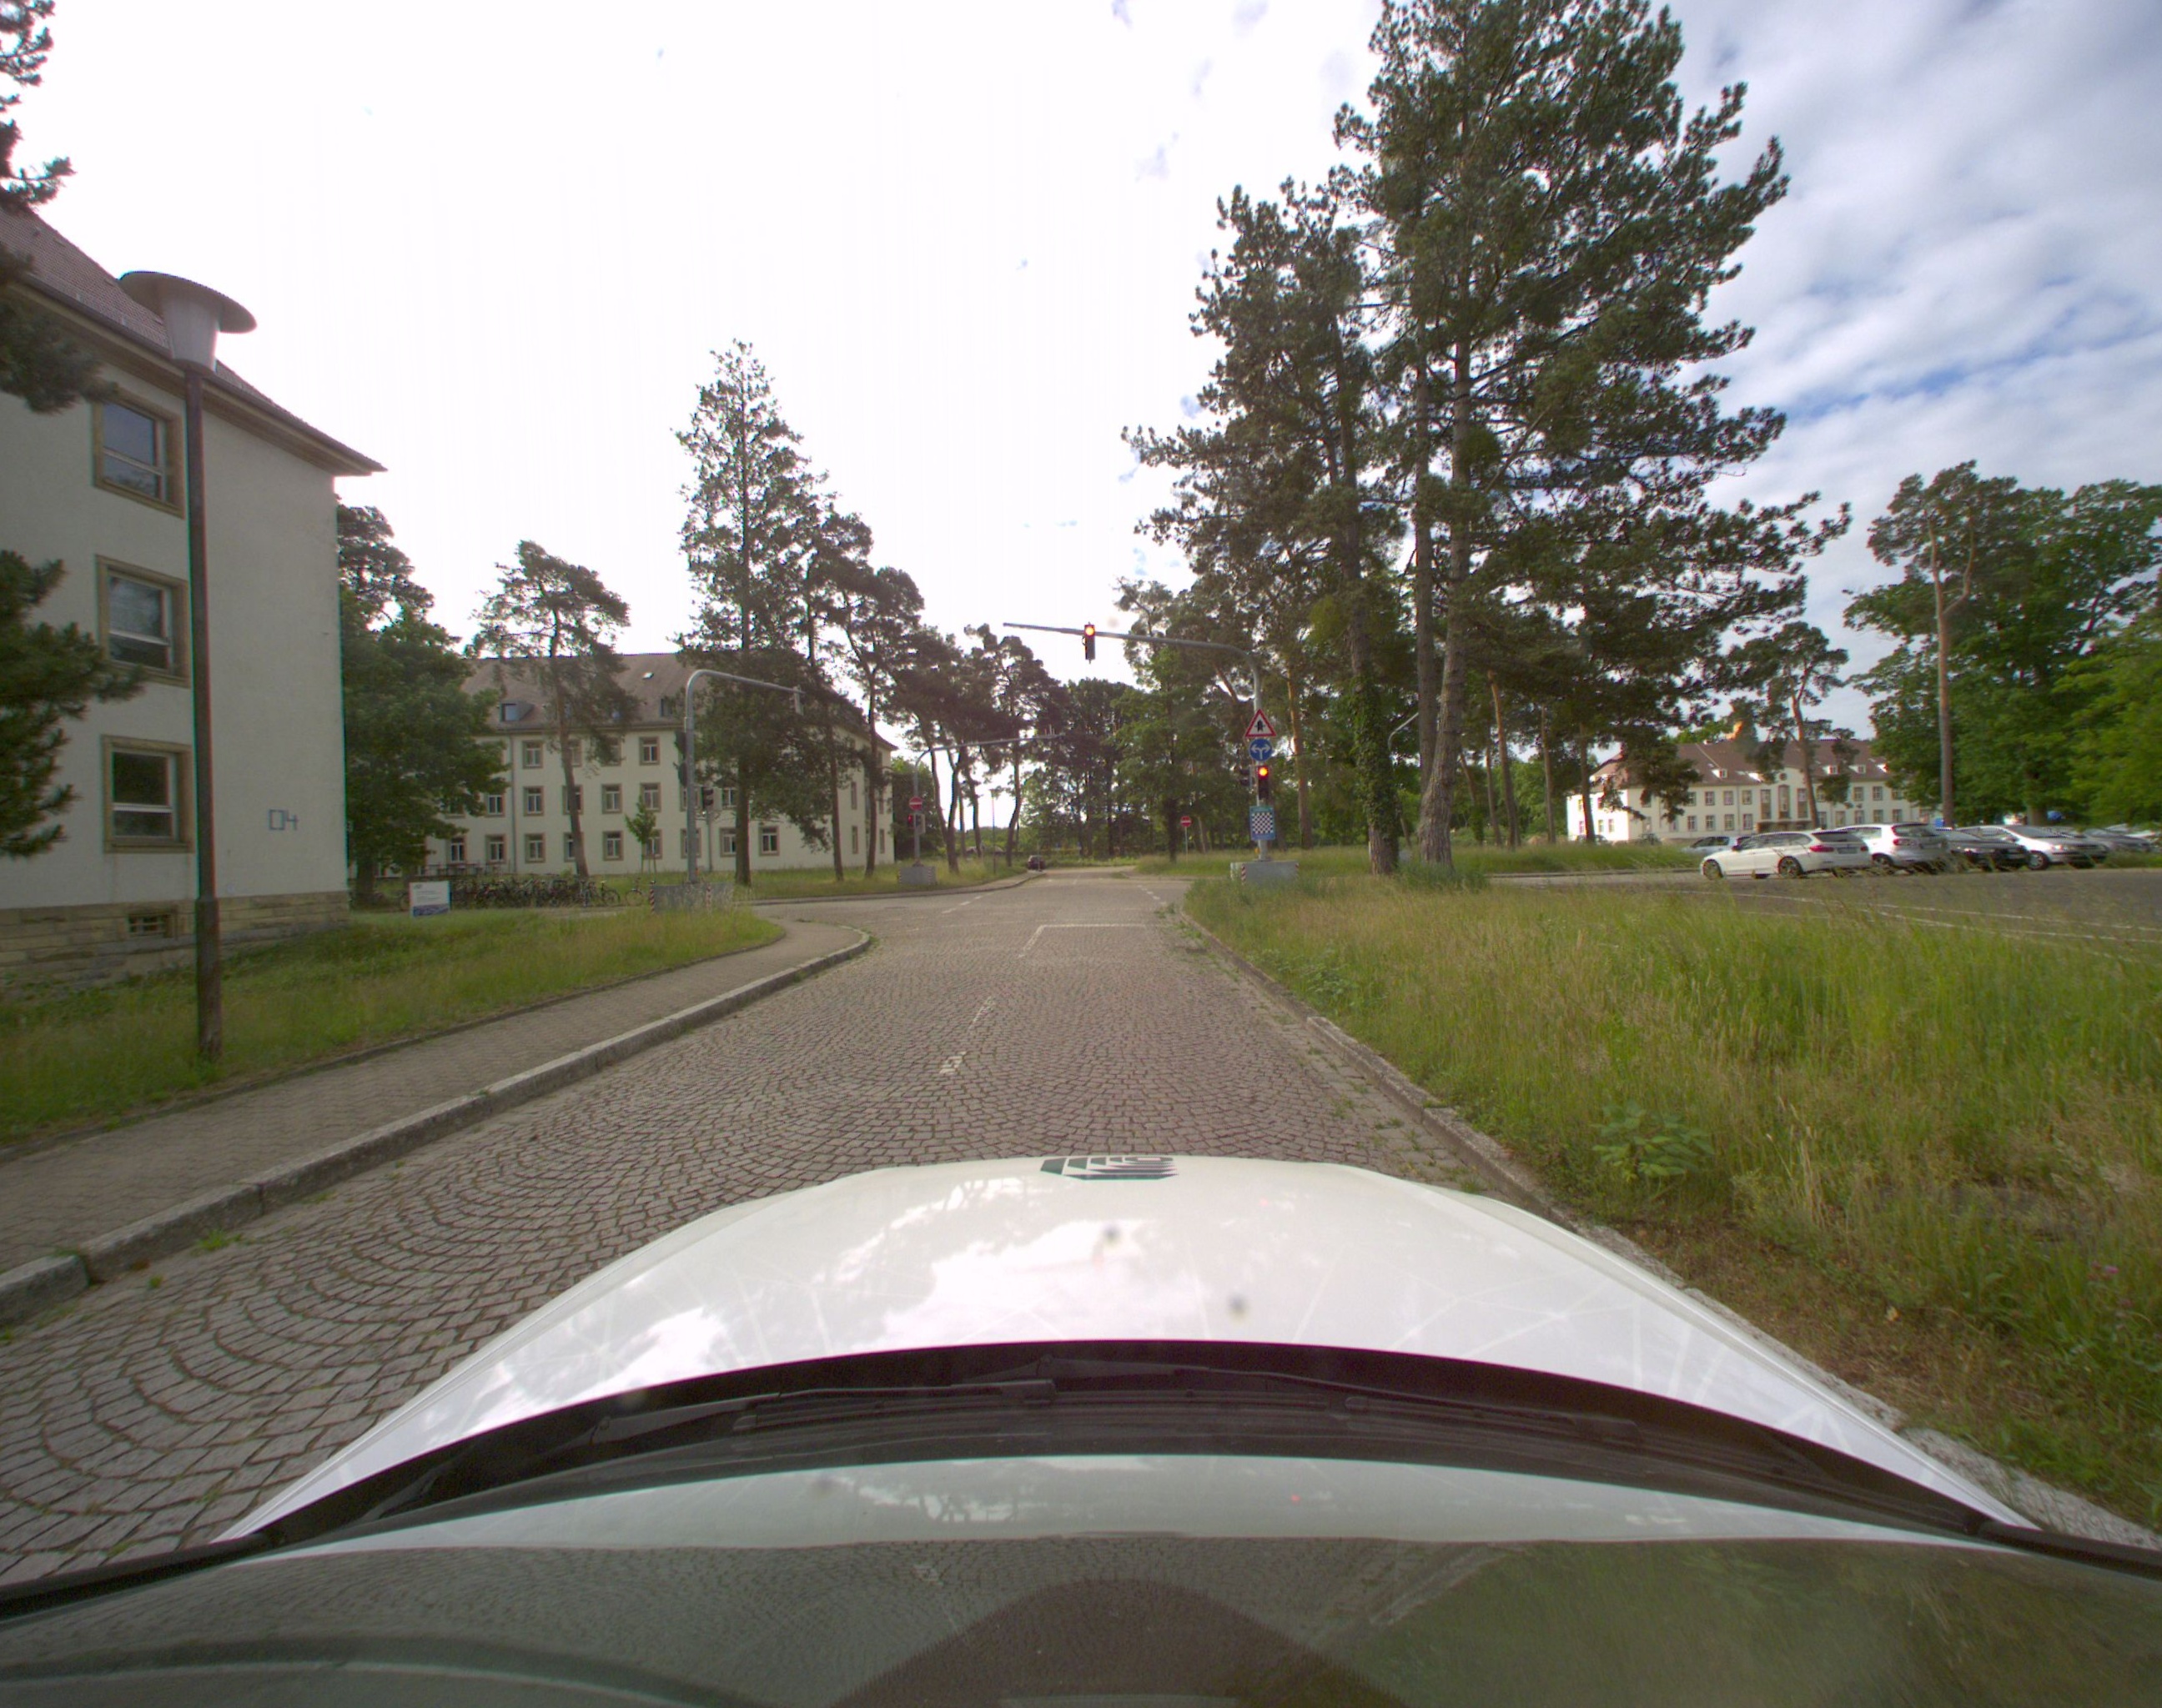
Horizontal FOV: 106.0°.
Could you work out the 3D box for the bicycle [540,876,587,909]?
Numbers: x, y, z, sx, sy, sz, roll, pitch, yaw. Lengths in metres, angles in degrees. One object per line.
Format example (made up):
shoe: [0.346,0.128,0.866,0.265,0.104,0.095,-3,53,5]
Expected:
bicycle: [-20.525,1.507,32.345,0.573,1.178,1.953,-2,0,-1]

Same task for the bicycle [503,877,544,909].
bicycle: [-22.107,1.523,32.303,0.447,1.178,1.695,-2,0,-1]

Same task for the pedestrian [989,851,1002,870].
pedestrian: [-8.579,0.630,81.837,1.206,1.890,0.748,-2,0,2]

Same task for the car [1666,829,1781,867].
car: [28.799,-0.253,36.685,1.746,1.524,4.450,-2,0,2]

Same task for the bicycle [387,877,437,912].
bicycle: [-26.487,1.569,32.298,0.447,1.283,1.827,-2,0,-1]

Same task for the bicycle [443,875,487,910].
bicycle: [-24.403,1.494,32.286,0.447,1.283,1.695,-2,0,-1]

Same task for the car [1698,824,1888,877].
car: [21.438,-0.081,24.797,1.748,1.415,4.443,-2,-1,-3]

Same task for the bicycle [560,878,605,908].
bicycle: [-19.829,1.543,32.445,0.573,1.078,1.996,-2,0,-1]

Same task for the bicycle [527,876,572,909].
bicycle: [-21.108,1.513,32.388,0.526,1.178,1.930,-2,0,-1]

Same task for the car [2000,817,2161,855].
car: [43.975,-0.747,35.915,1.748,1.524,4.443,-2,0,-3]

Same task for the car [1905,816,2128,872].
car: [29.376,-0.288,25.837,1.862,1.577,4.443,-2,0,-3]

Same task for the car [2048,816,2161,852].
car: [46.860,-0.874,36.467,1.748,1.524,4.443,-2,0,-3]

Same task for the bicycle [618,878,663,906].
bicycle: [-16.780,1.435,31.025,1.454,0.996,0.452,-2,0,1]

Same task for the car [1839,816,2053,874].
car: [26.685,-0.256,25.395,1.862,1.577,4.443,-2,0,-3]

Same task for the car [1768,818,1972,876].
car: [24.015,-0.206,25.074,1.862,1.577,4.443,-2,0,-3]

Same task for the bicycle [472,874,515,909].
bicycle: [-23.325,1.483,32.360,0.447,1.283,1.695,-2,0,-1]

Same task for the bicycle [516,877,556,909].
bicycle: [-21.621,1.531,32.327,0.447,1.178,1.695,-2,0,-1]

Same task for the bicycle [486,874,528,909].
bicycle: [-22.820,1.478,32.405,0.447,1.283,1.695,-2,0,-1]

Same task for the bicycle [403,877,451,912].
bicycle: [-26.022,1.589,32.434,0.441,1.283,1.784,-2,0,-1]

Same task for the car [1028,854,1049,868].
car: [-4.594,0.761,88.324,1.986,1.508,4.002,0,0,2]

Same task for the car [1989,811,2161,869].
car: [32.029,-0.435,25.616,1.862,1.686,4.443,-2,0,-3]

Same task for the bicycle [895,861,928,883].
bicycle: [-8.011,0.840,38.454,1.457,0.996,0.451,-2,0,-6]

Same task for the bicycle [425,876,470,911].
bicycle: [-25.067,1.554,32.254,0.447,1.283,1.695,-2,0,-1]

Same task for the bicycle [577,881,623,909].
bicycle: [-18.304,1.543,30.992,1.454,0.996,0.452,-2,0,1]

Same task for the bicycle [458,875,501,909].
bicycle: [-23.840,1.488,32.313,0.447,1.283,1.695,-2,0,-1]

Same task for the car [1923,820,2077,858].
car: [40.996,-0.643,36.507,1.748,1.524,4.443,-2,0,-3]
